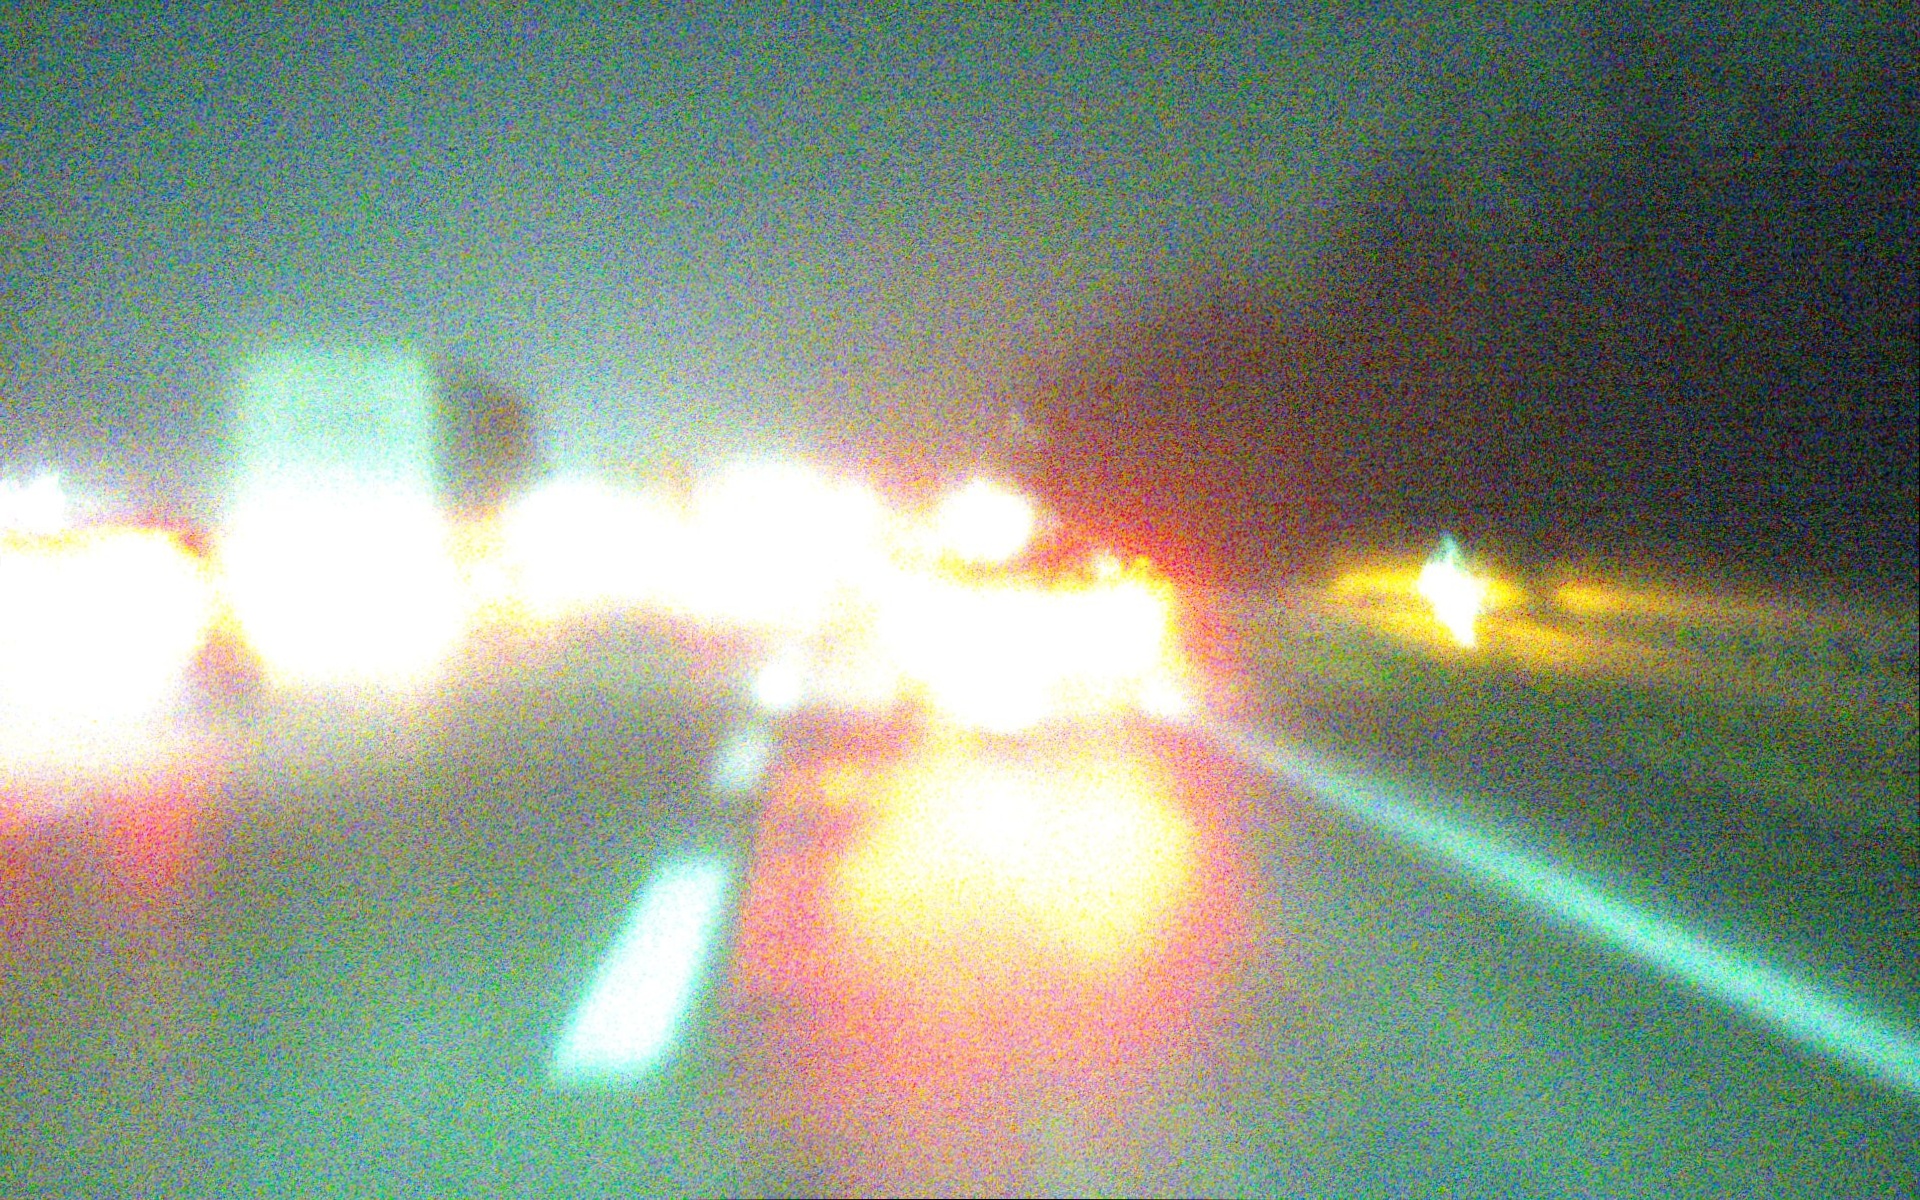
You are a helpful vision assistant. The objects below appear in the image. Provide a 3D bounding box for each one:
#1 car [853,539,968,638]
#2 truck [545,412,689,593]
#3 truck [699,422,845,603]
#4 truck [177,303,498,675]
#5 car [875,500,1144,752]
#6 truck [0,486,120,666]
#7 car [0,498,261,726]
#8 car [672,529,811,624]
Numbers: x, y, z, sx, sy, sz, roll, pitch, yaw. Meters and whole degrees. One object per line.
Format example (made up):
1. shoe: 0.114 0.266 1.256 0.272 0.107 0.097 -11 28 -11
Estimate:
1. car: -0.915 -0.232 62.646 1.993 1.698 4.459 1 1 -1
2. truck: -10.884 -3.025 109.829 4.253 5.425 10.886 1 1 -5
3. truck: -5.808 -2.607 104.681 4.161 5.197 9.956 1 1 -4
4. truck: -8.651 -1.493 49.105 3.655 4.721 9.854 1 1 -6
5. car: 0.324 0.156 26.377 1.878 1.756 4.000 1 1 -1
6. truck: -12.927 -0.348 44.877 2.857 2.193 5.859 1 1 -4
7. car: -7.161 0.056 28.964 2.038 1.755 4.517 1 1 -6
8. car: -4.865 -0.546 77.386 2.832 2.007 5.510 1 1 -1
